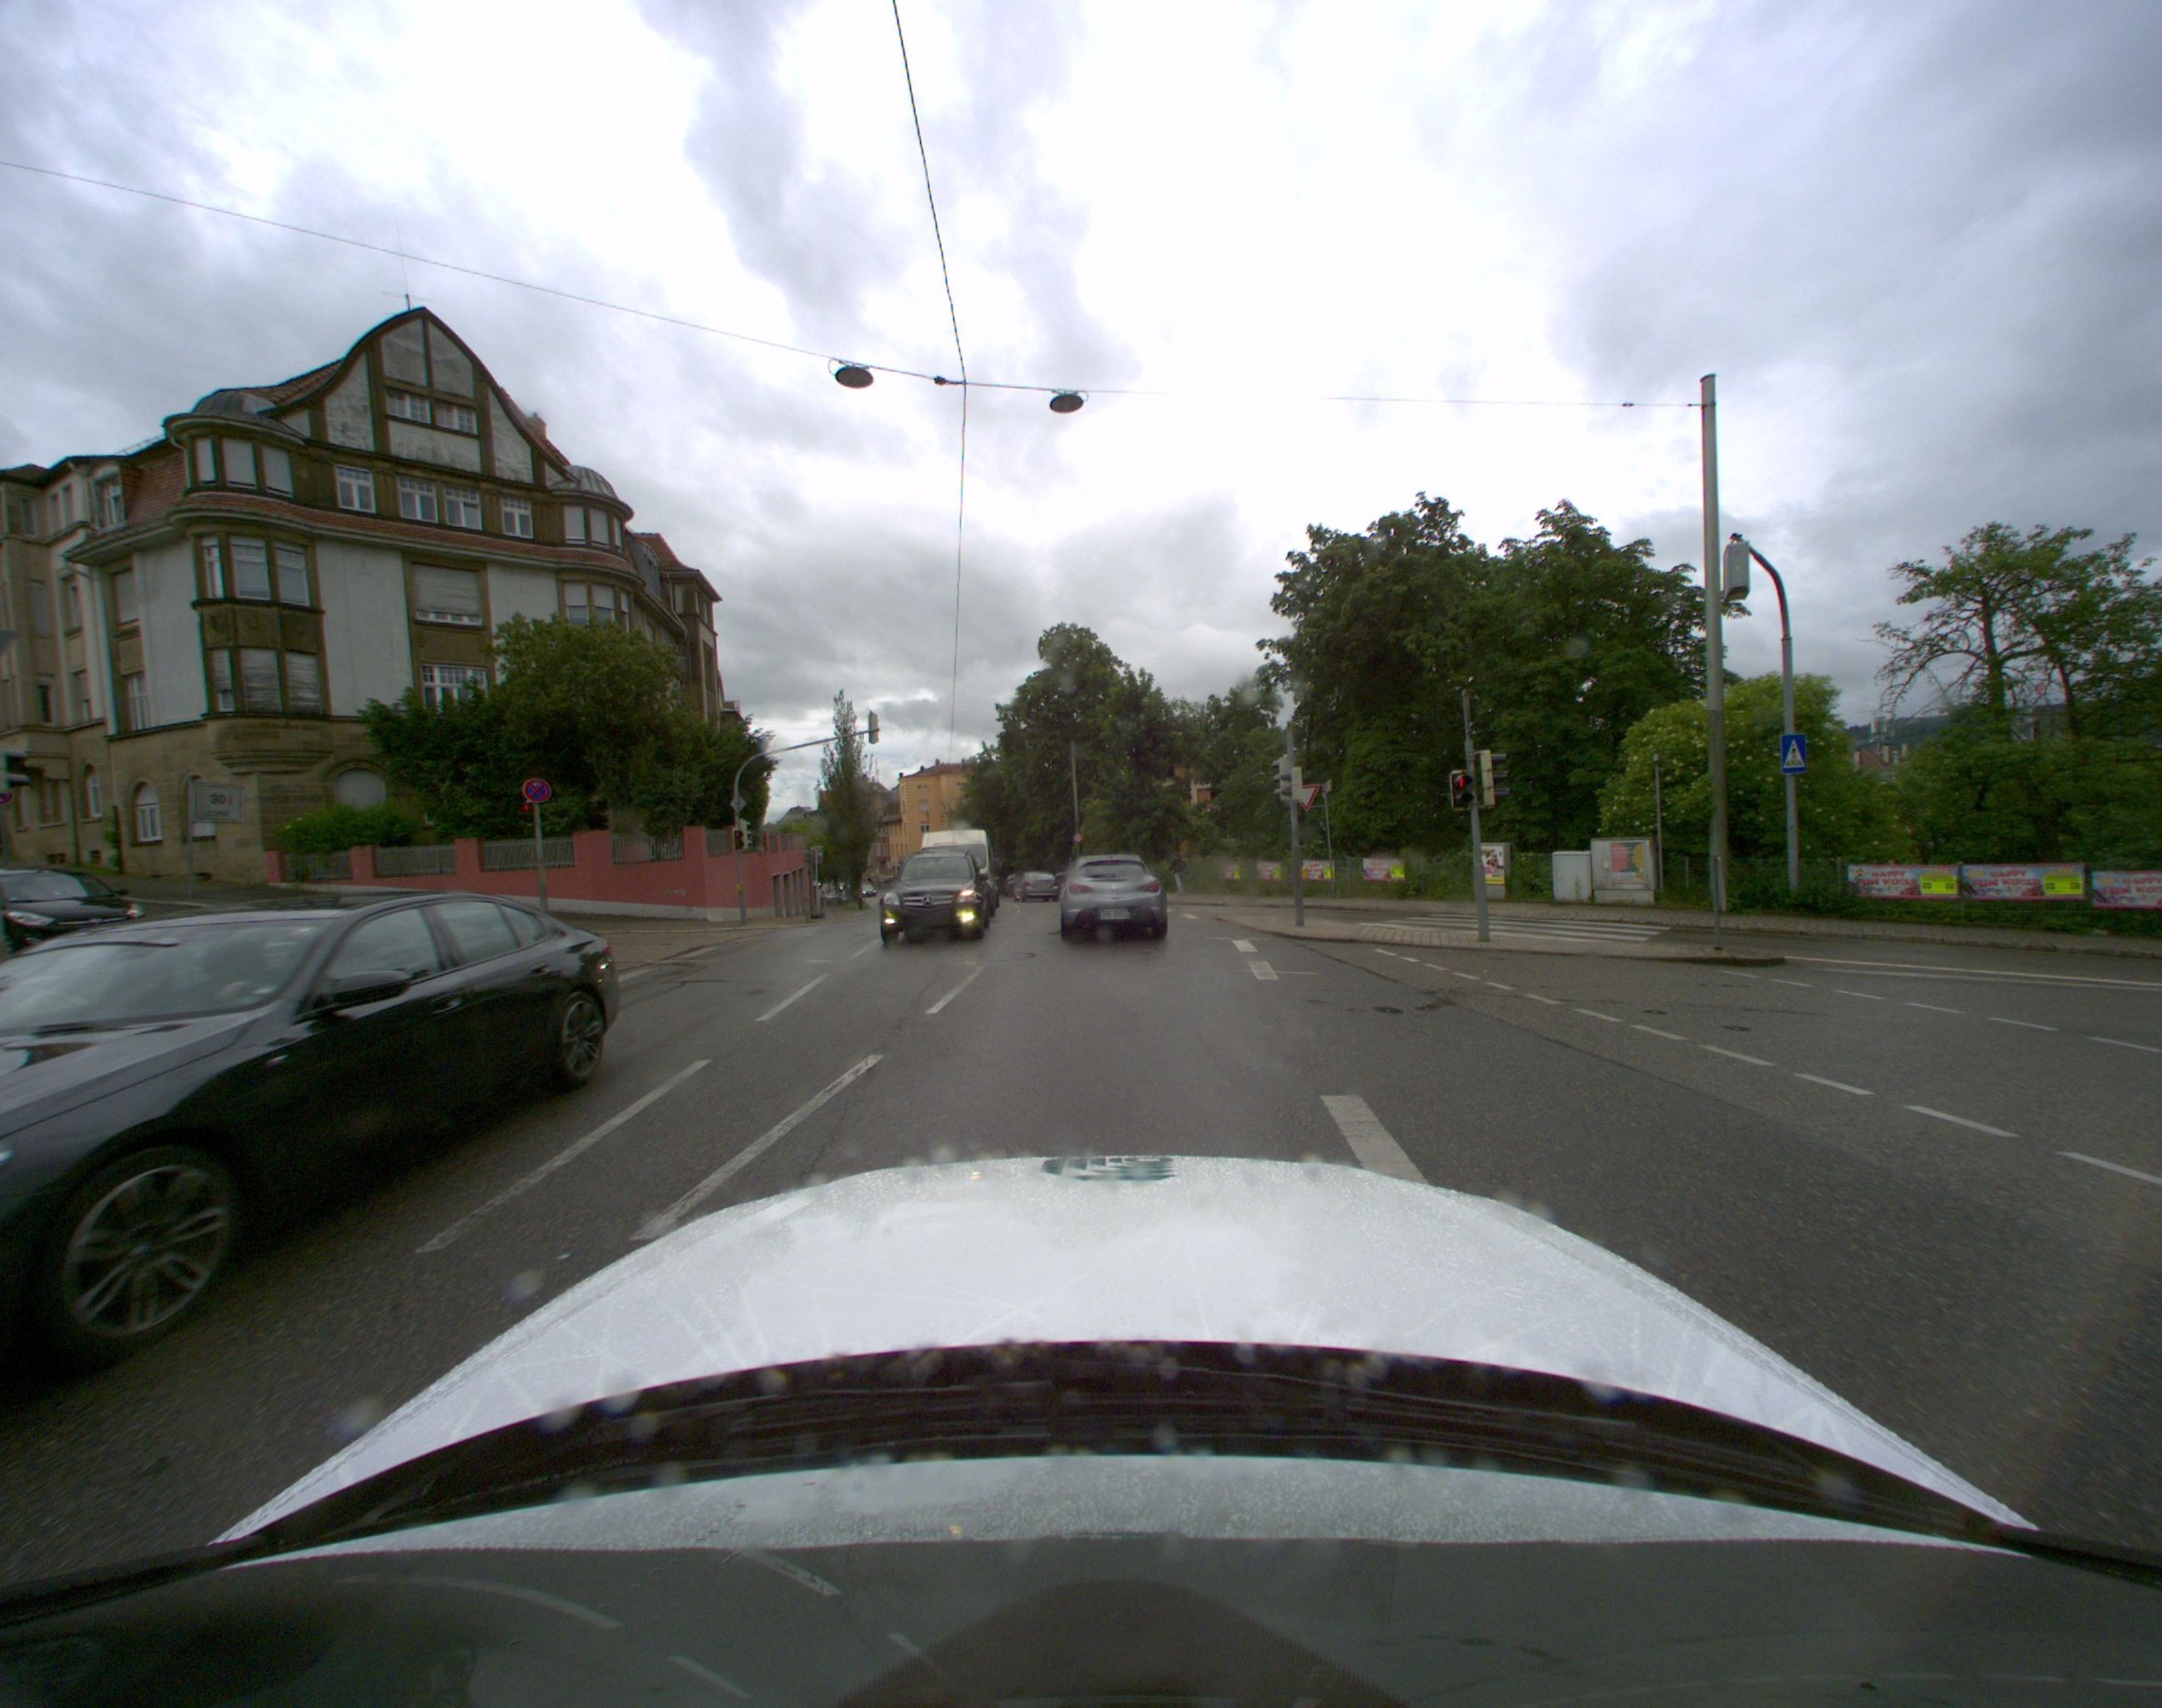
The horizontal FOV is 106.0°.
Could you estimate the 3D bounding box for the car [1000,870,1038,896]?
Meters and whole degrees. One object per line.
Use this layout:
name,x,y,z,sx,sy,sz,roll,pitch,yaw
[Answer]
car,-4.728,2.185,61.205,1.825,1.683,4.777,-6,-1,-16

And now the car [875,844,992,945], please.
car,-2.766,0.706,16.168,1.818,1.652,4.338,-2,0,-5

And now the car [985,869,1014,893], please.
car,-5.300,1.761,52.748,1.384,1.412,3.440,-3,-1,-13

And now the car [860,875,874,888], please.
car,-33.490,4.300,127.606,1.787,1.855,3.974,-3,-2,-19

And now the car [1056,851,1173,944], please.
car,0.490,0.719,15.266,1.810,1.430,3.996,-3,0,-3

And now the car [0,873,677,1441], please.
car,-4.288,0.972,4.546,1.851,1.486,5.354,-4,0,-7

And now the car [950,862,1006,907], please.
car,-3.895,1.119,30.311,1.815,1.430,3.985,-4,-1,-10

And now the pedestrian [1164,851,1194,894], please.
pedestrian,3.845,0.720,32.075,0.766,1.605,0.961,-6,-1,-12

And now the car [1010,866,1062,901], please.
car,-2.150,1.416,38.119,1.778,1.430,3.769,-4,-2,-12

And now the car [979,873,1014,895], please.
car,-7.385,2.609,70.995,1.982,1.609,4.455,-6,-1,-19

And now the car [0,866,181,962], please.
car,-18.490,1.014,14.702,3.328,1.438,1.679,0,3,17

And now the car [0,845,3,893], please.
car,-34.375,0.495,24.493,3.474,1.453,1.717,0,2,27

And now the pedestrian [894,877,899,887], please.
pedestrian,-28.561,4.305,126.122,0.615,1.496,0.549,-3,1,-21

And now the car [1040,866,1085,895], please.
car,-1.069,1.486,45.730,1.652,1.404,3.794,-5,-1,-14

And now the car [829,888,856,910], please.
car,-18.632,3.528,63.724,1.818,1.612,3.979,-2,-2,-15

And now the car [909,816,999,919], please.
car,-3.562,0.408,23.892,2.115,2.546,5.528,-4,-1,-6
